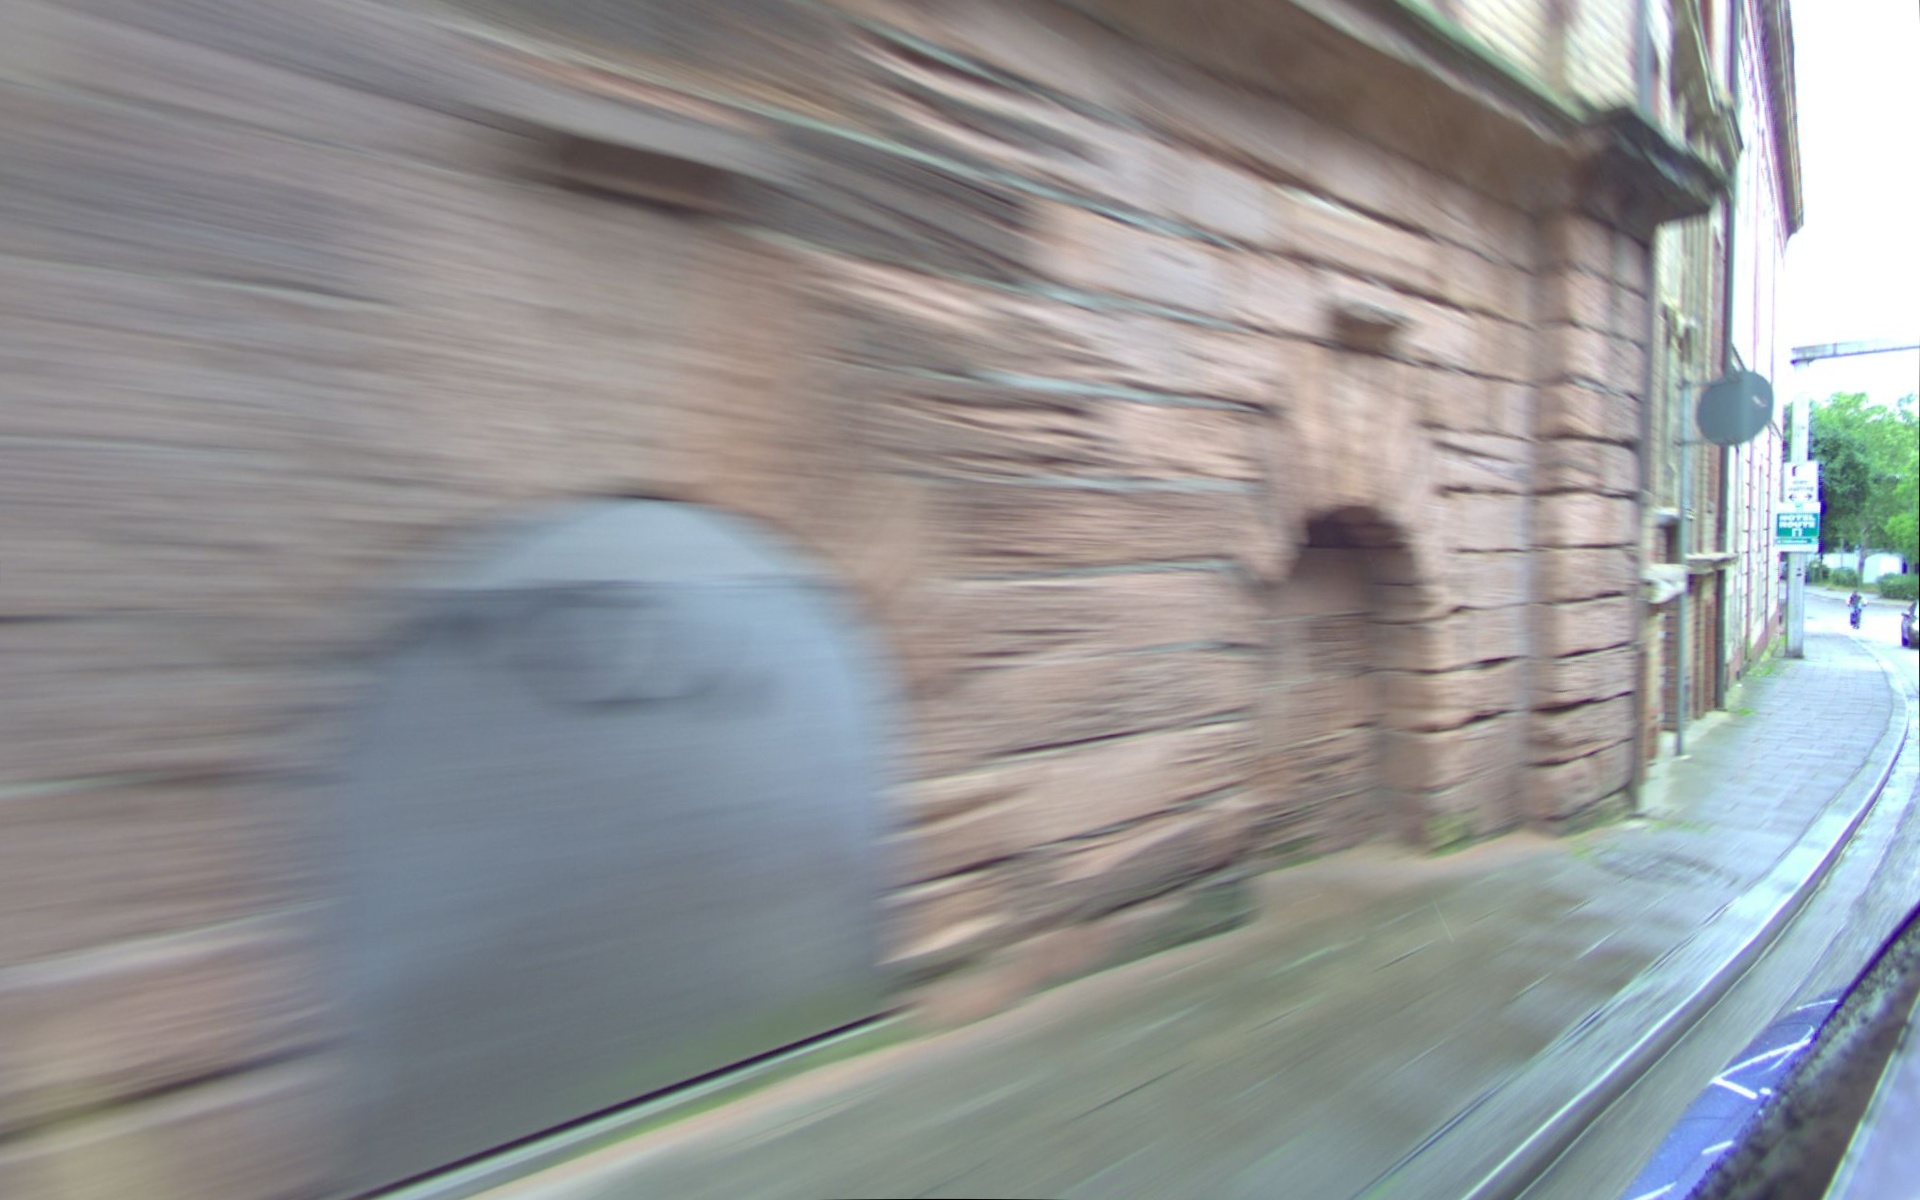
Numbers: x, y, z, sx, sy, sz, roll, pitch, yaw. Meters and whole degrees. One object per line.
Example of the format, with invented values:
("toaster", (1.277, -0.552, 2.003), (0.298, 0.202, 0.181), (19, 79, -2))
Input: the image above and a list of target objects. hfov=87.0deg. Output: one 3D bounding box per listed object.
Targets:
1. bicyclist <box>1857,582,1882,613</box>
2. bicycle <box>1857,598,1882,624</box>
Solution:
("bicyclist", (44.639, -0.140, 49.700), (0.885, 1.508, 0.954), (1, 1, 42))
("bicycle", (44.702, 0.530, 49.757), (0.885, 1.202, 2.102), (1, 2, 41))
